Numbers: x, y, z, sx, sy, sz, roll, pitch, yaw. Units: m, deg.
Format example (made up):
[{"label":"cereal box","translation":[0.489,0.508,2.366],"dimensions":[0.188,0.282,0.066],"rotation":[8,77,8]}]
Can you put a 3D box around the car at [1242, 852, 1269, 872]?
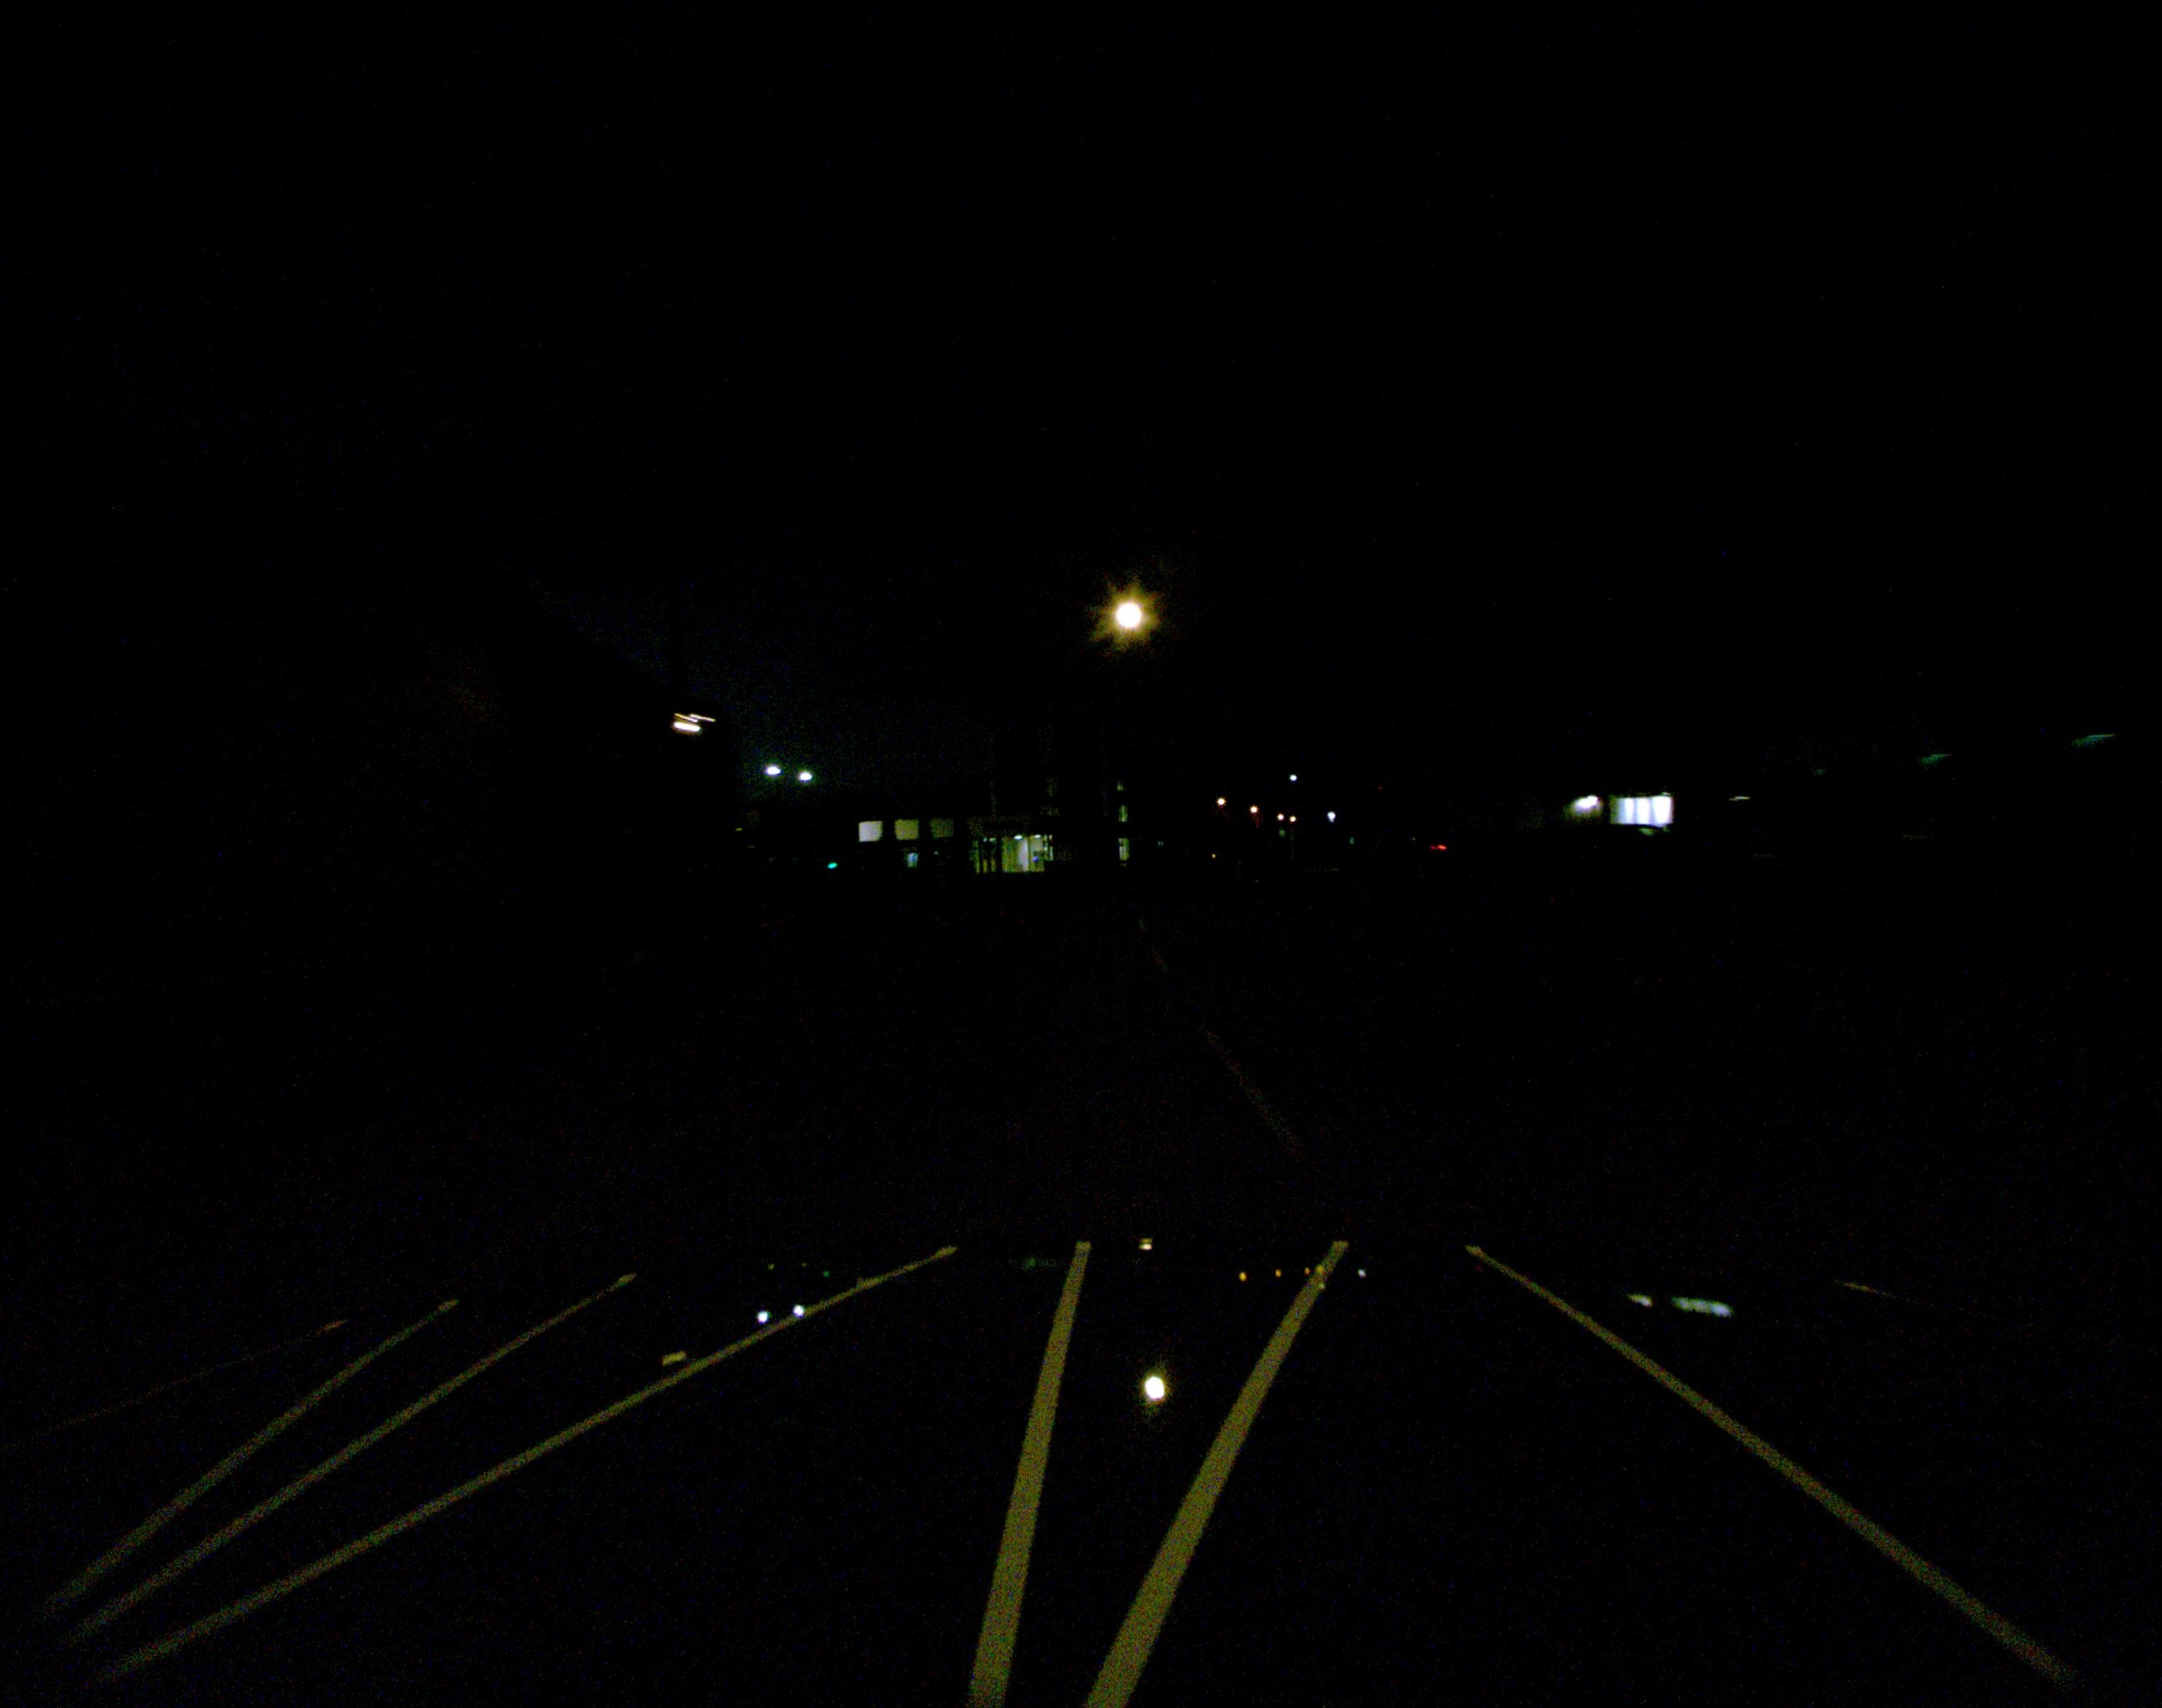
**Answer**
[{"label":"car","translation":[16.379,0.703,71.145],"dimensions":[1.946,1.707,5.204],"rotation":[-2,0,17]}]

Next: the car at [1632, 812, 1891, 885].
[{"label":"car","translation":[16.266,-0.124,18.379],"dimensions":[4.413,1.470,1.851],"rotation":[-3,0,5]}]

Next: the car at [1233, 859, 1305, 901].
[{"label":"car","translation":[6.888,0.912,28.253],"dimensions":[1.818,1.363,4.362],"rotation":[-2,0,4]}]

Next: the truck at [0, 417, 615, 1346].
[{"label":"truck","translation":[-5.770,0.141,1.830],"dimensions":[2.762,3.761,10.225],"rotation":[-2,0,0]}]

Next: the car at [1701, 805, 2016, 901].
[{"label":"car","translation":[16.069,-0.008,15.928],"dimensions":[4.414,1.671,1.963],"rotation":[-3,0,3]}]

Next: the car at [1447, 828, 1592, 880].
[{"label":"car","translation":[17.660,-0.001,30.781],"dimensions":[4.617,1.805,1.963],"rotation":[-3,0,5]}]

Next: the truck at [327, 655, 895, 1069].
[{"label":"truck","translation":[-5.509,0.066,11.673],"dimensions":[2.762,3.761,9.137],"rotation":[-2,0,1]}]

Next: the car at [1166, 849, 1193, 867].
[{"label":"car","translation":[11.761,0.433,90.372],"dimensions":[1.995,2.002,4.919],"rotation":[-2,0,22]}]

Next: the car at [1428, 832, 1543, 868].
[{"label":"car","translation":[19.073,-0.183,35.996],"dimensions":[4.413,1.444,1.828],"rotation":[-3,0,5]}]

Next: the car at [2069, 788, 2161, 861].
[{"label":"car","translation":[25.342,-0.727,16.663],"dimensions":[1.998,1.632,4.204],"rotation":[-4,0,6]}]

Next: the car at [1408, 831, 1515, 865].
[{"label":"car","translation":[19.126,-0.286,38.380],"dimensions":[4.413,1.474,1.893],"rotation":[-3,0,5]}]

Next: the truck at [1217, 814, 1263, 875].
[{"label":"truck","translation":[12.013,-0.718,56.743],"dimensions":[2.776,4.096,9.350],"rotation":[-2,0,15]}]

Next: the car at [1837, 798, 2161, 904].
[{"label":"car","translation":[16.301,-0.064,13.279],"dimensions":[4.140,1.570,1.842],"rotation":[-3,0,5]}]

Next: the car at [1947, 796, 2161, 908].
[{"label":"car","translation":[15.841,-0.127,10.735],"dimensions":[4.457,1.444,2.062],"rotation":[-3,0,8]}]

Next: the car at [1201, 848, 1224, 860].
[{"label":"car","translation":[18.754,0.018,108.246],"dimensions":[1.948,1.480,5.018],"rotation":[-3,0,24]}]

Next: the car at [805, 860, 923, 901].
[{"label":"car","translation":[-8.919,1.058,31.514],"dimensions":[4.337,1.636,1.892],"rotation":[0,0,0]}]

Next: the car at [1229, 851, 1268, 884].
[{"label":"car","translation":[9.071,0.686,41.533],"dimensions":[1.869,1.583,4.498],"rotation":[-3,0,10]}]

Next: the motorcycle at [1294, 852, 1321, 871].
[{"label":"motorcycle","translation":[15.414,0.504,51.697],"dimensions":[1.693,1.095,0.531],"rotation":[-6,2,-17]}]

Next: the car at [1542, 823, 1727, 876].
[{"label":"car","translation":[17.055,-0.141,23.586],"dimensions":[4.275,1.386,1.828],"rotation":[-3,1,5]}]

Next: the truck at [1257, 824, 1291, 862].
[{"label":"truck","translation":[22.658,-1.285,88.676],"dimensions":[2.749,4.010,9.573],"rotation":[-3,0,20]}]

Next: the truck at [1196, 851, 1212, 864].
[{"label":"truck","translation":[16.845,0.448,104.055],"dimensions":[1.371,1.635,3.817],"rotation":[-2,0,21]}]

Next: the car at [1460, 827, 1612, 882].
[{"label":"car","translation":[16.881,0.023,28.366],"dimensions":[4.413,1.805,1.963],"rotation":[-2,0,5]}]
